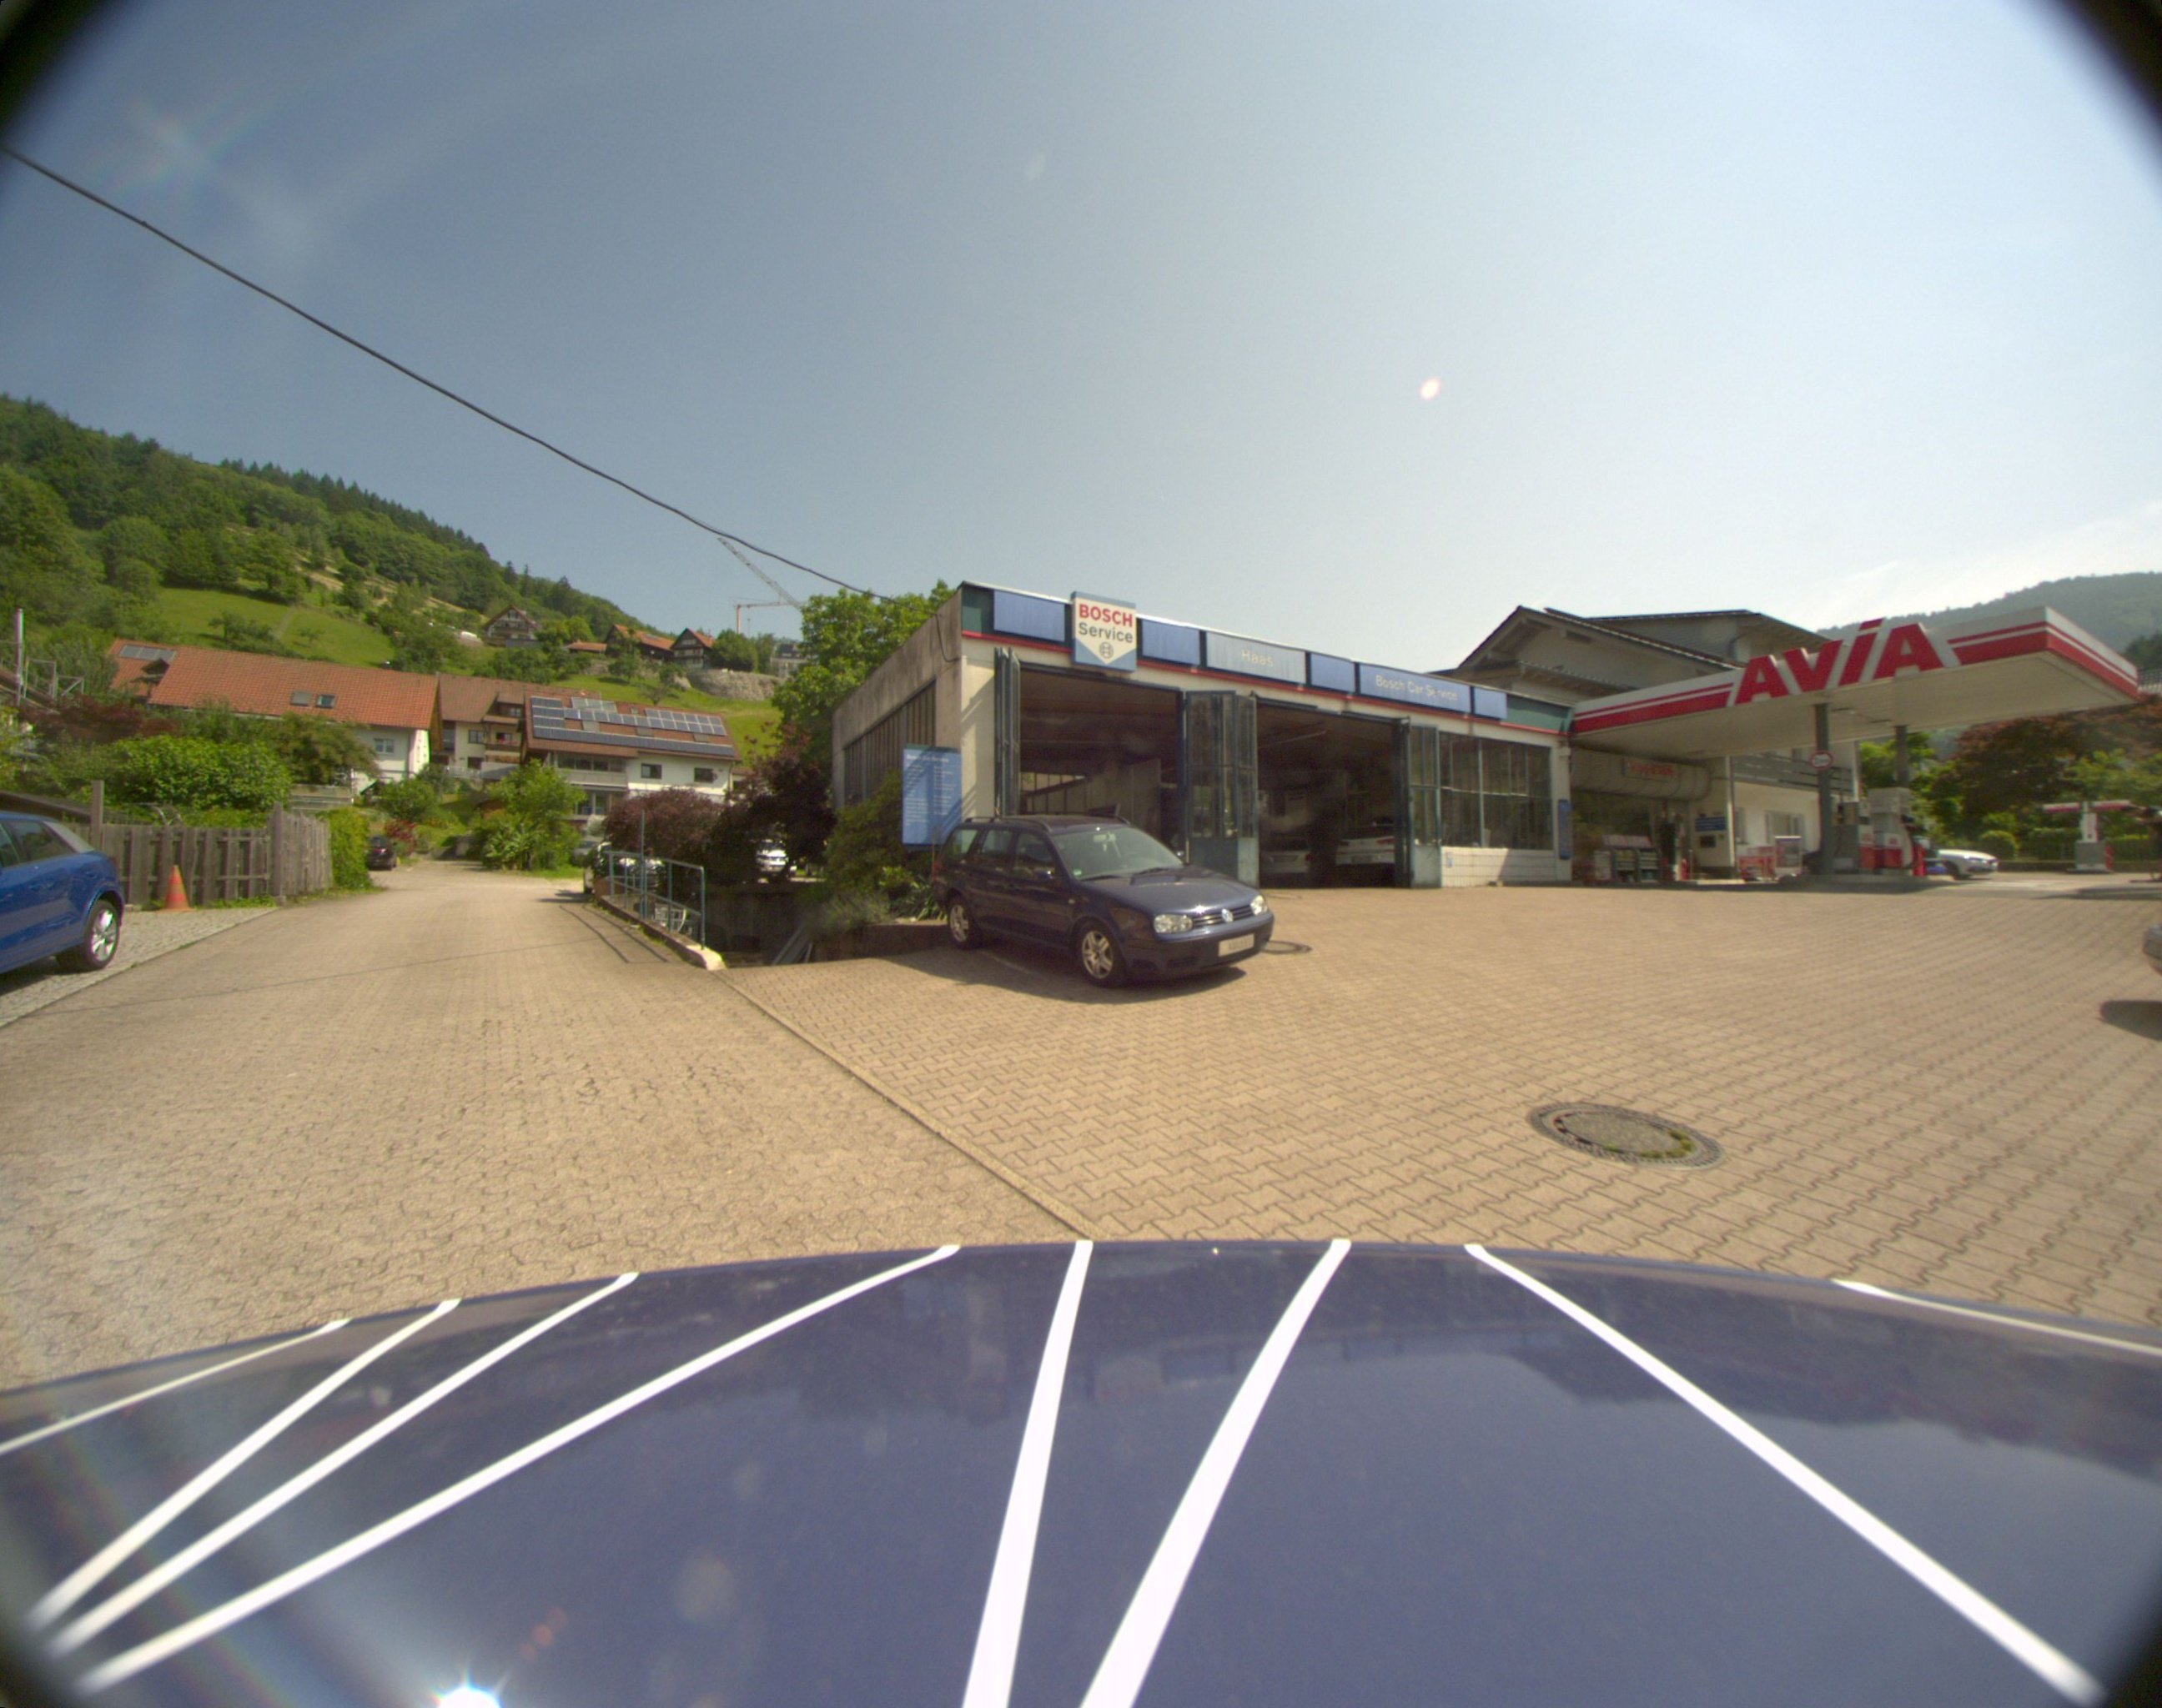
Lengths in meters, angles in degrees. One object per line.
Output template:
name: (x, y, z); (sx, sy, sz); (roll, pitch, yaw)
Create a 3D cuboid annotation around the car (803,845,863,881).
car: (-12.074, 0.379, 36.812); (1.682, 1.546, 3.900); (-2, 3, -35)

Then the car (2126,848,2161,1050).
car: (9.644, 0.726, 4.572); (1.598, 1.474, 3.746); (-2, 2, -43)

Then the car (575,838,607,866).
car: (-26.246, -0.148, 40.660); (1.347, 1.363, 3.204); (-2, 3, -34)

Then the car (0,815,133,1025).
car: (-9.177, 0.510, 5.526); (1.738, 1.616, 3.924); (-1, 2, -34)

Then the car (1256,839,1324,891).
car: (6.145, 0.374, 22.094); (1.545, 1.397, 3.485); (0, -2, 21)

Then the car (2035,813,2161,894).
car: (22.308, -0.073, 16.224); (3.916, 1.568, 1.693); (-2, 3, -28)

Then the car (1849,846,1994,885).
car: (28.558, 0.347, 25.899); (1.337, 1.138, 3.074); (-2, 3, -30)

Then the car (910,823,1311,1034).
car: (0.005, 0.471, 7.864); (1.803, 1.537, 4.319); (-3, 4, -37)

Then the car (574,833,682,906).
car: (-12.024, 0.288, 20.008); (2.003, 1.636, 4.863); (-2, 3, -35)

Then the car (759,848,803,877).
car: (-14.228, 0.378, 35.981); (1.470, 1.251, 3.379); (1, 1, -29)

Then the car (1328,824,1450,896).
car: (8.151, 0.073, 19.927); (1.601, 1.679, 3.938); (2, 3, 44)

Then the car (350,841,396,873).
car: (-27.790, 0.096, 29.864); (1.115, 1.058, 2.855); (3, 1, -39)
